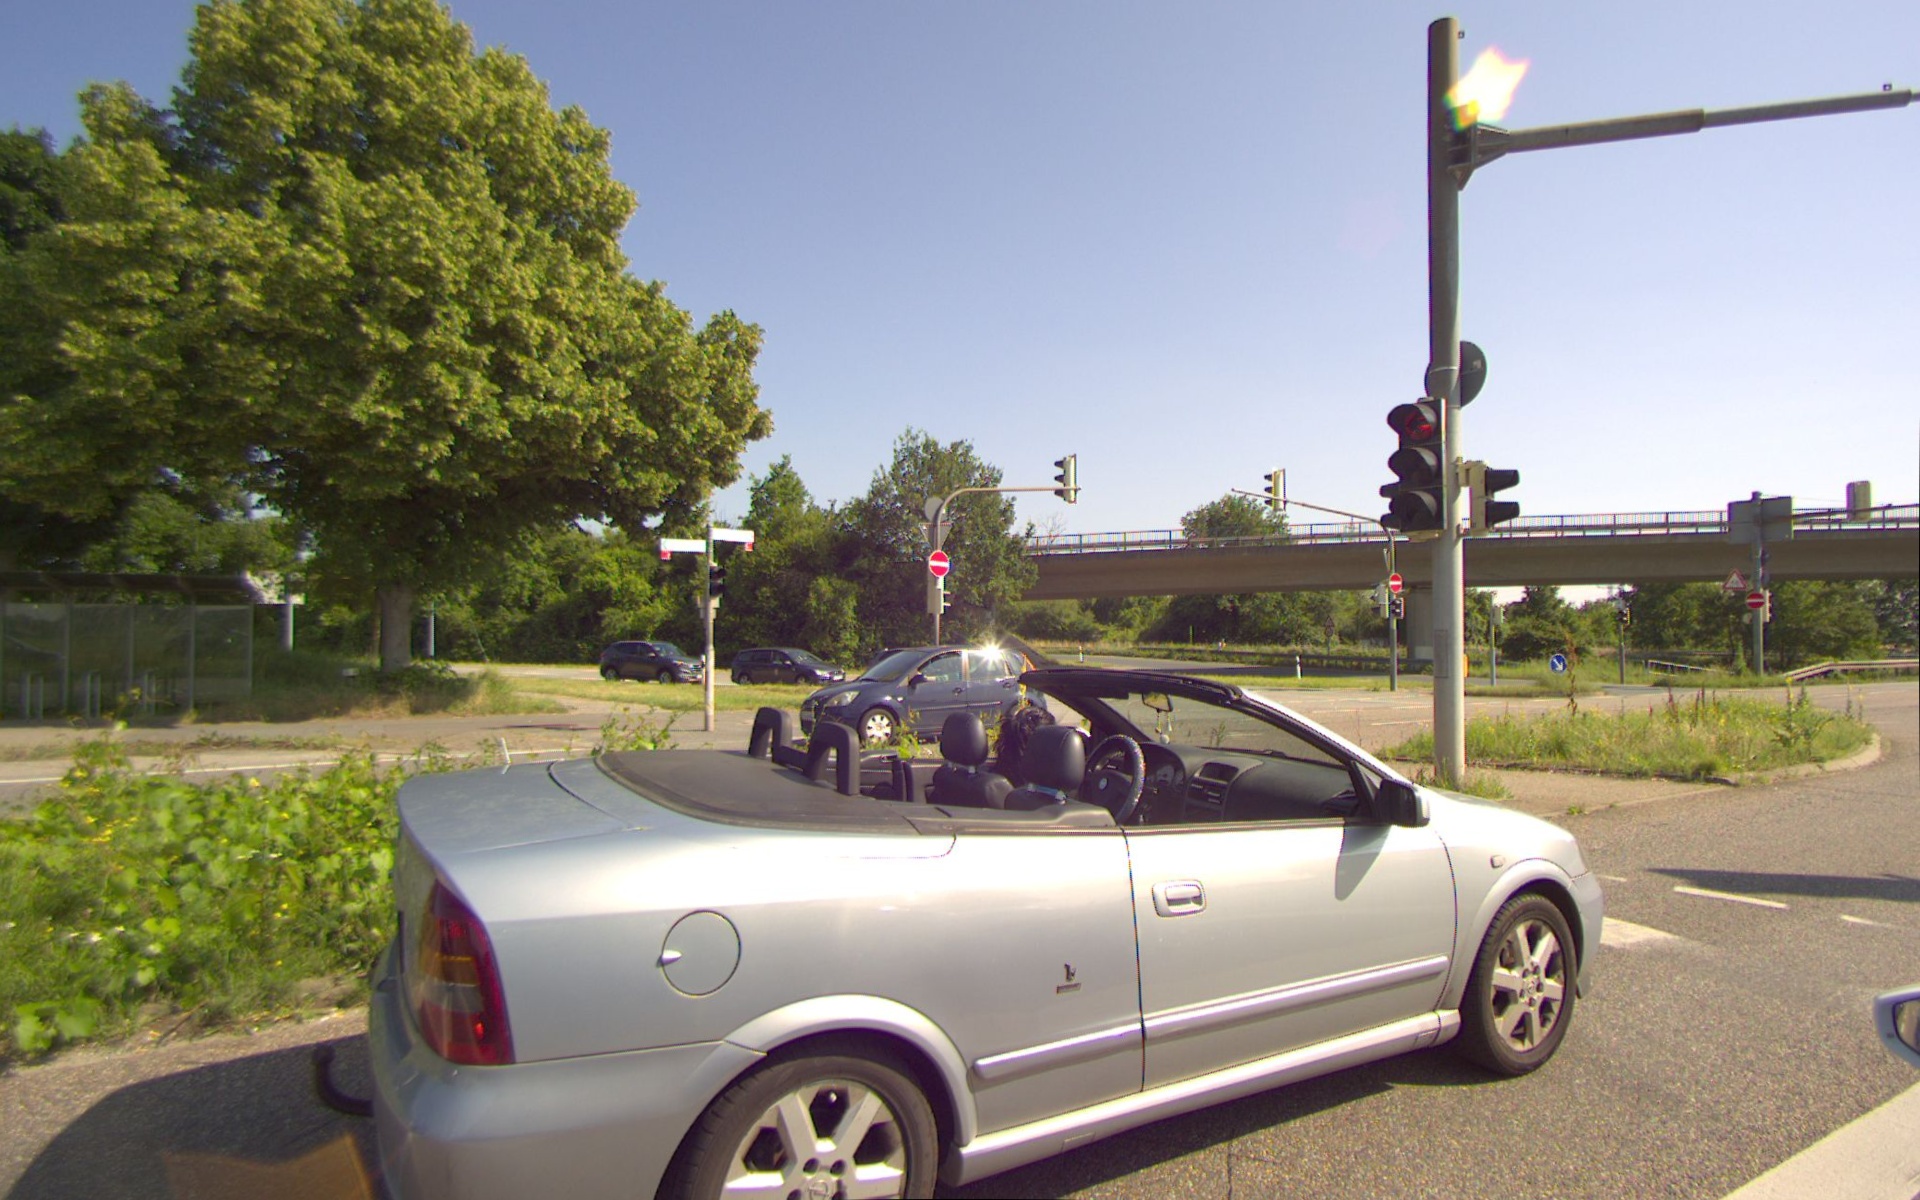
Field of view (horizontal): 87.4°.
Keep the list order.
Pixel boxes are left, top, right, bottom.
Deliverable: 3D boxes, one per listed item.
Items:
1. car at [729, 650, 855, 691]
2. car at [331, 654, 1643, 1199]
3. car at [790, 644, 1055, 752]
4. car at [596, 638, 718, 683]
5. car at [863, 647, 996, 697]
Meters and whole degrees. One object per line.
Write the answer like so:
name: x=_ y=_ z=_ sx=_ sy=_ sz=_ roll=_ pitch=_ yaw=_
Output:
car: x=-5.901 y=2.423 z=35.086 sx=4.276 sy=1.297 sz=1.648 roll=-1 pitch=-2 yaw=30
car: x=0.327 y=0.877 z=3.375 sx=4.049 sy=1.352 sz=1.666 roll=1 pitch=-3 yaw=-30
car: x=-0.543 y=1.425 z=15.296 sx=3.732 sy=1.460 sz=1.607 roll=1 pitch=-4 yaw=-30
car: x=-11.347 y=2.222 z=37.593 sx=4.270 sy=1.616 sz=1.651 roll=-1 pitch=-2 yaw=22
car: x=-0.996 y=2.245 z=31.956 sx=4.066 sy=1.443 sz=1.862 roll=-2 pitch=-3 yaw=41
